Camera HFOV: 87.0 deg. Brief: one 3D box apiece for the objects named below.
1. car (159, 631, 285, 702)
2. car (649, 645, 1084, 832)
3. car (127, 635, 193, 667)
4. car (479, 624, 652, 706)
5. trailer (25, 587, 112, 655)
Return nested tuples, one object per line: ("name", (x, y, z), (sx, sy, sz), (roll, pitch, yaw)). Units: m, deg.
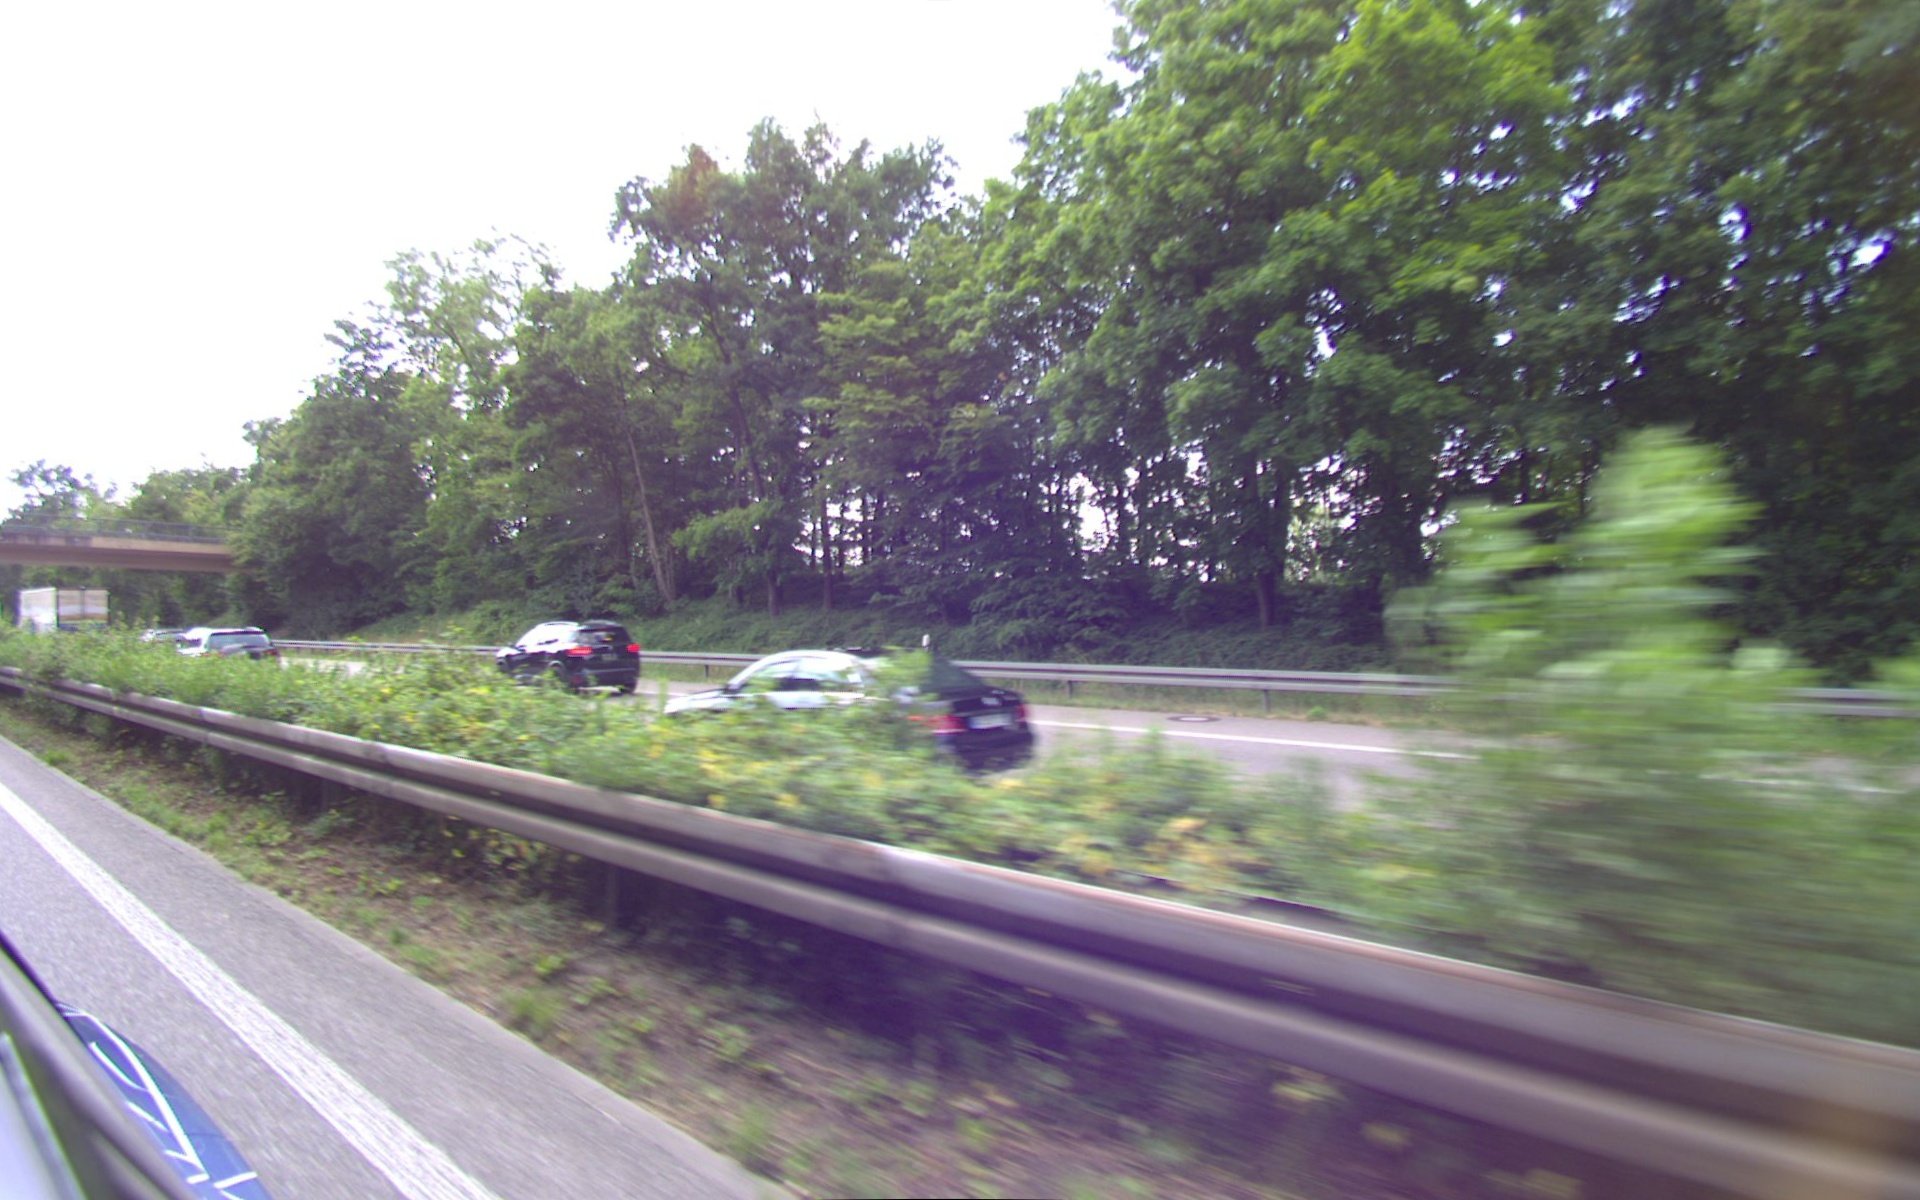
("car", (-18.557, 1.599, 25.381), (3.998, 1.643, 1.699), (-2, -2, 41))
("car", (-1.173, 1.240, 10.577), (4.714, 1.443, 1.765), (-2, -1, 41))
("car", (-38.684, 2.433, 48.908), (4.467, 1.484, 1.716), (-2, -3, 41))
("car", (-9.187, 1.429, 23.401), (4.592, 1.674, 1.809), (-2, -1, 41))
("trailer", (-57.364, 1.404, 65.034), (9.971, 4.073, 3.027), (-2, -2, 42))
